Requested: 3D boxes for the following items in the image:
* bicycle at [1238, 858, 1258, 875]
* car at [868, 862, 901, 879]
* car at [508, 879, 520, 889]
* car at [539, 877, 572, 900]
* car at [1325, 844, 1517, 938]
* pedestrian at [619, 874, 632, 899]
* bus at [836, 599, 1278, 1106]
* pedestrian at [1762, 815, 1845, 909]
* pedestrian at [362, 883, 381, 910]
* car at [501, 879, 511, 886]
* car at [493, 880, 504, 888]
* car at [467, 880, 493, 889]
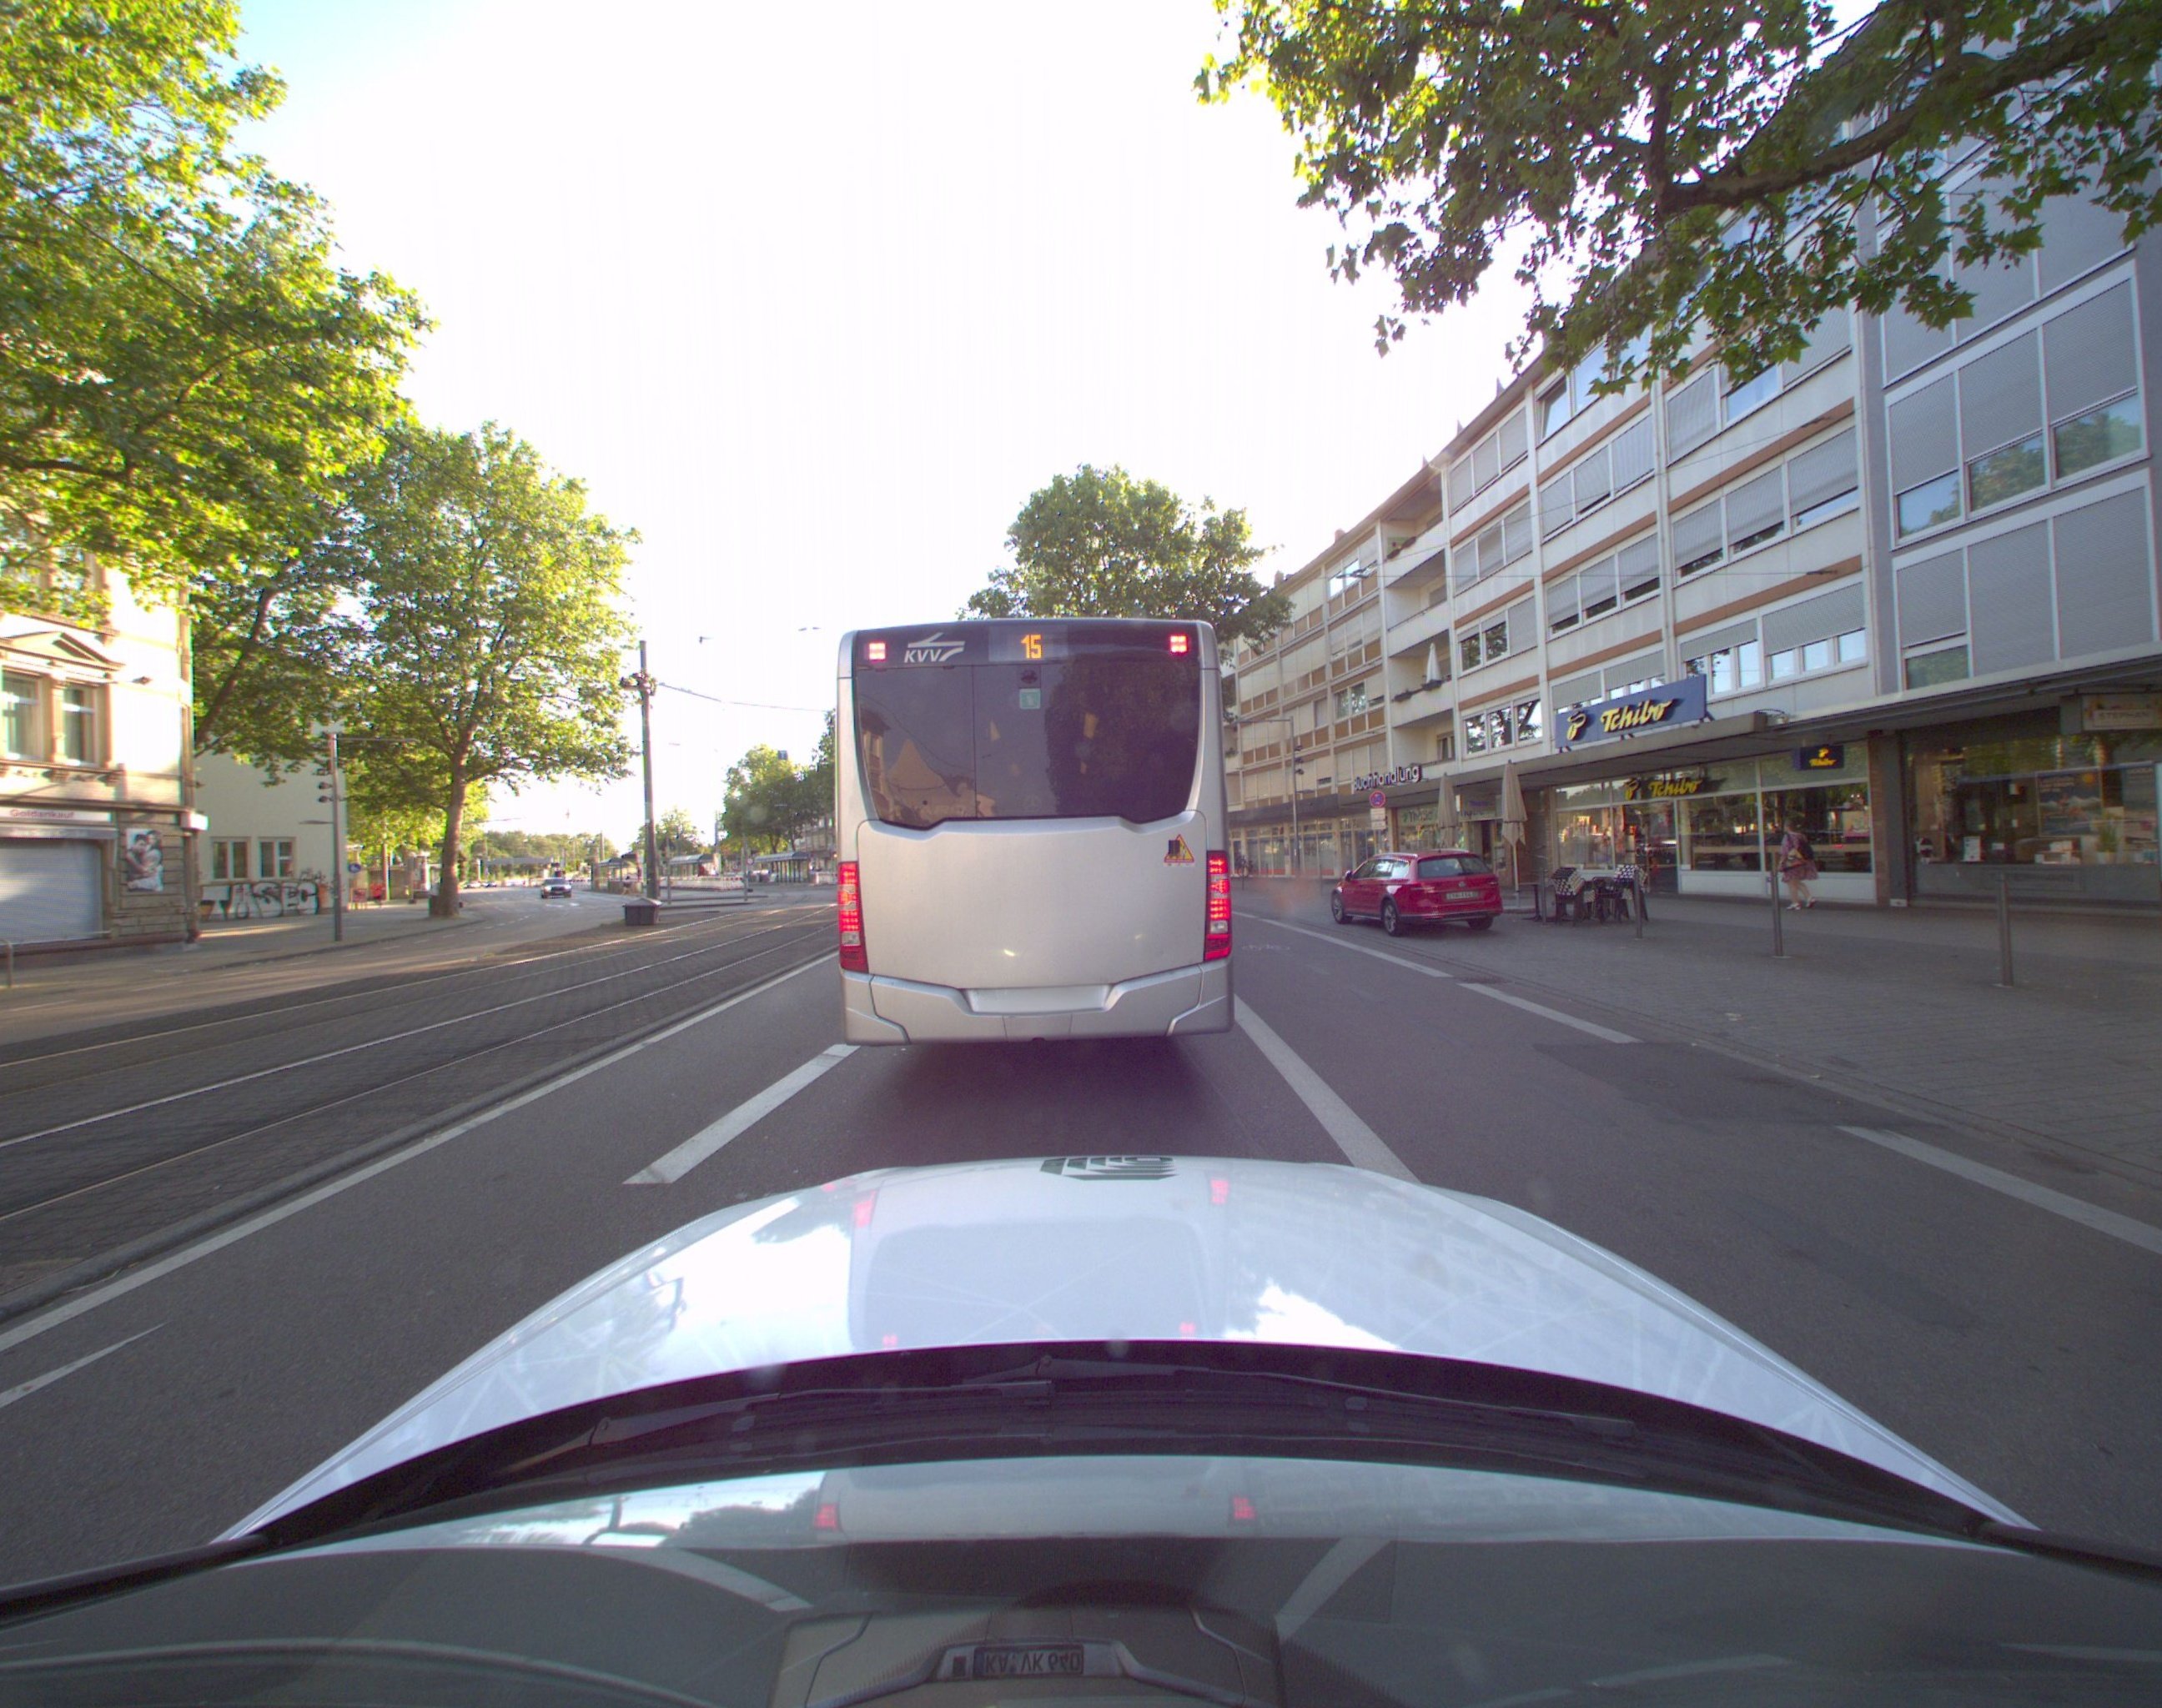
[{"bbox_3d":[9.300,0.714,45.459,0.413,0.945,1.431,-2,-1,-18],"label":"bicycle"},{"bbox_3d":[-21.446,1.781,88.600,2.010,1.792,3.954,0,-1,-39],"label":"car"},{"bbox_3d":[-111.430,5.876,160.033,1.858,1.684,3.677,-4,1,-35],"label":"car"},{"bbox_3d":[-40.049,2.600,62.081,2.008,1.640,3.958,-2,-1,-33],"label":"car"},{"bbox_3d":[6.367,0.637,15.847,1.765,1.482,4.300,-3,0,-2],"label":"car"},{"bbox_3d":[-31.661,2.252,56.588,0.661,1.656,0.438,-2,-1,-41],"label":"pedestrian"},{"bbox_3d":[-0.131,0.012,9.925,2.622,3.028,9.995,-1,0,0],"label":"bus"},{"bbox_3d":[12.814,0.136,14.472,0.649,1.592,0.788,-4,-1,-4],"label":"pedestrian"},{"bbox_3d":[-39.973,2.384,45.883,0.487,1.513,0.614,-3,0,25],"label":"pedestrian"},{"bbox_3d":[-130.073,6.447,184.214,1.858,1.684,3.676,-2,-1,-35],"label":"car"},{"bbox_3d":[-117.811,6.063,164.694,1.858,1.684,3.676,-2,-1,-35],"label":"car"},{"bbox_3d":[-122.650,6.299,166.158,1.768,1.640,4.024,-3,-1,44],"label":"car"}]
